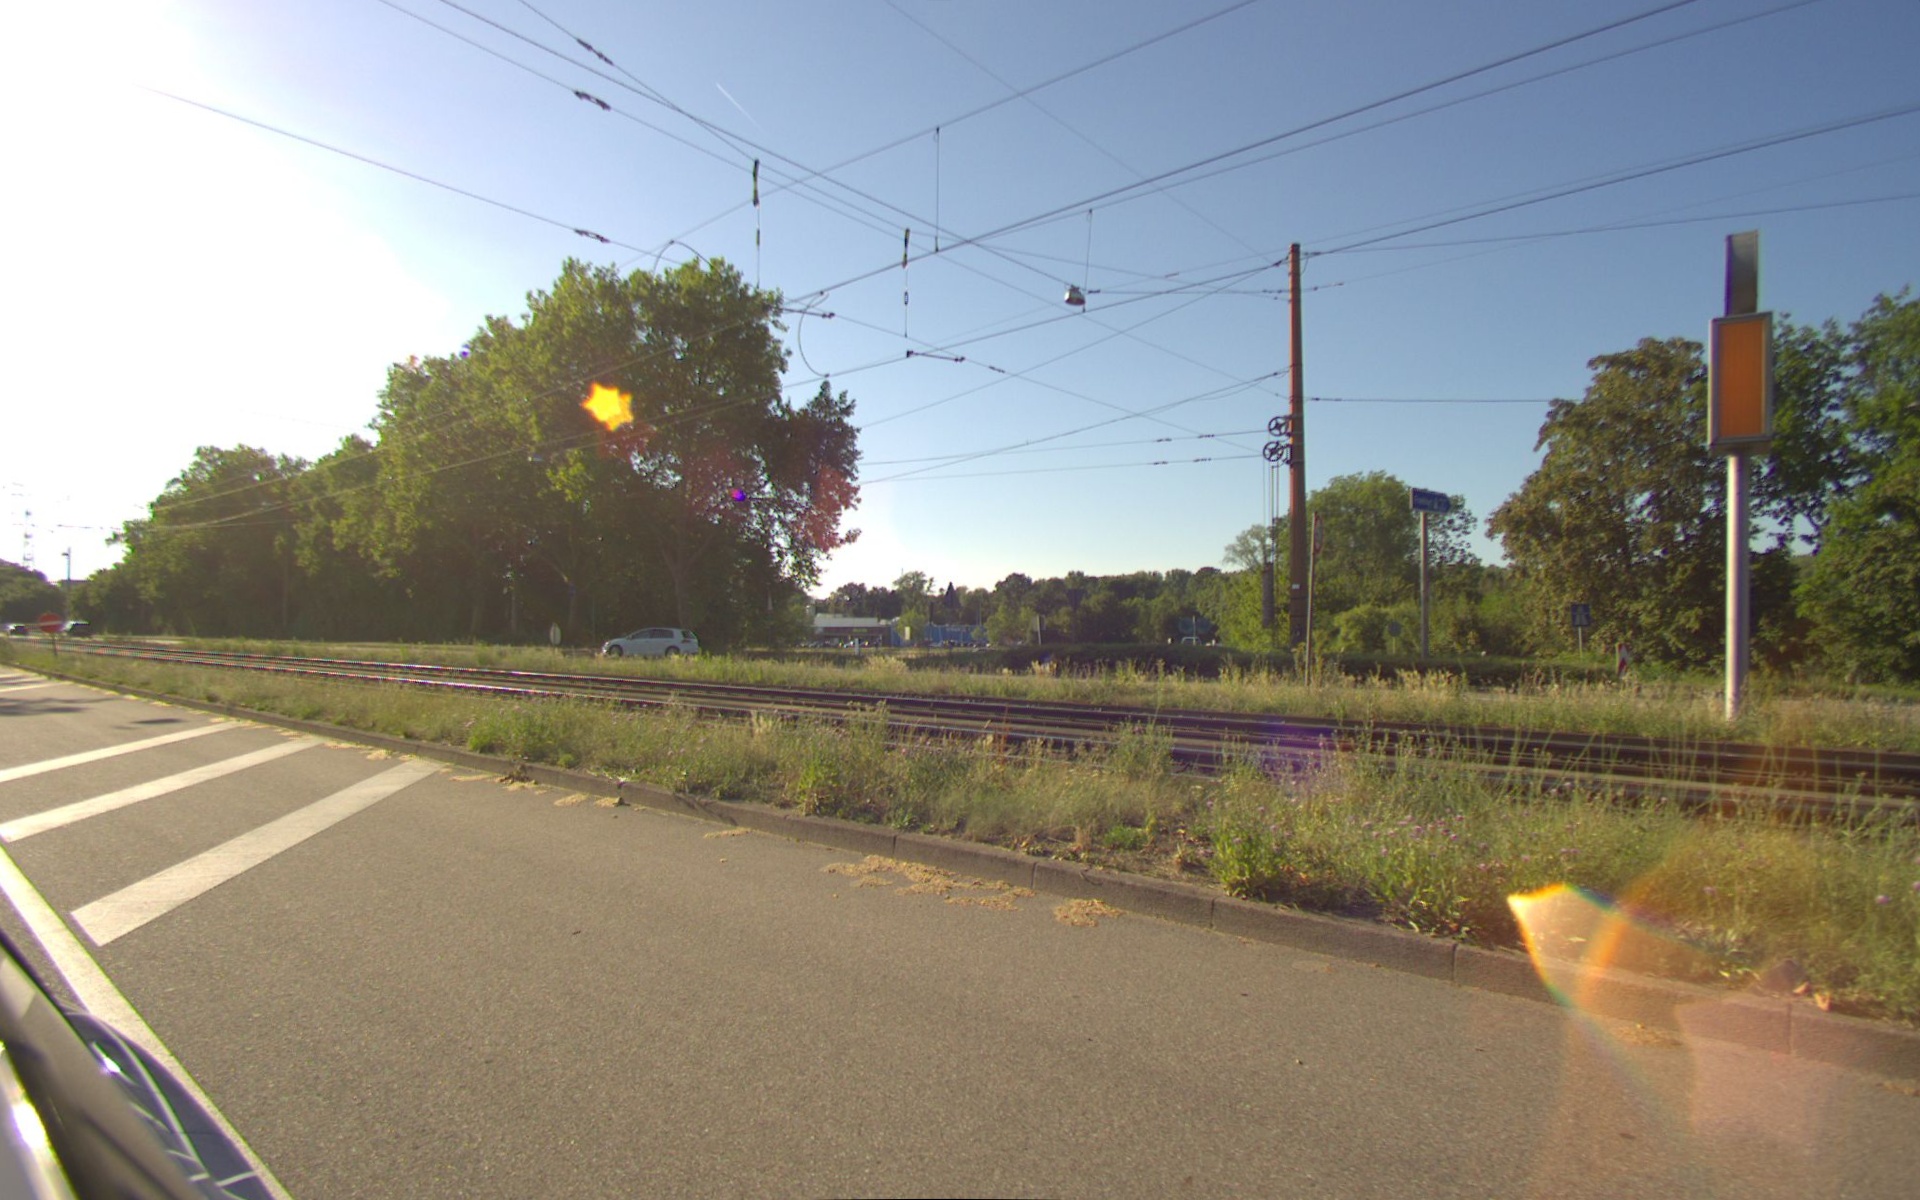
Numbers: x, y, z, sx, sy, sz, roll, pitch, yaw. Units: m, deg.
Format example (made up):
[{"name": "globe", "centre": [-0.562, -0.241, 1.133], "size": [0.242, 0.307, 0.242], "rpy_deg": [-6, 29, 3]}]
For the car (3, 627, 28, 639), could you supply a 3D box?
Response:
[{"name": "car", "centre": [-119.721, 4.207, 128.293], "size": [4.343, 1.479, 1.693], "rpy_deg": [-2, -4, 39]}]

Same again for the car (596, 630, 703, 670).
[{"name": "car", "centre": [-13.778, 2.201, 44.985], "size": [4.217, 1.537, 1.657], "rpy_deg": [2, 0, 3]}]

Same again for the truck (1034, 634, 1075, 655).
[{"name": "truck", "centre": [12.610, 5.896, 134.565], "size": [4.944, 2.540, 2.072], "rpy_deg": [-1, 0, -20]}]

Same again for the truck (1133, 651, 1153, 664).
[{"name": "truck", "centre": [24.542, 7.686, 135.728], "size": [1.634, 1.537, 4.130], "rpy_deg": [3, -3, -4]}]
